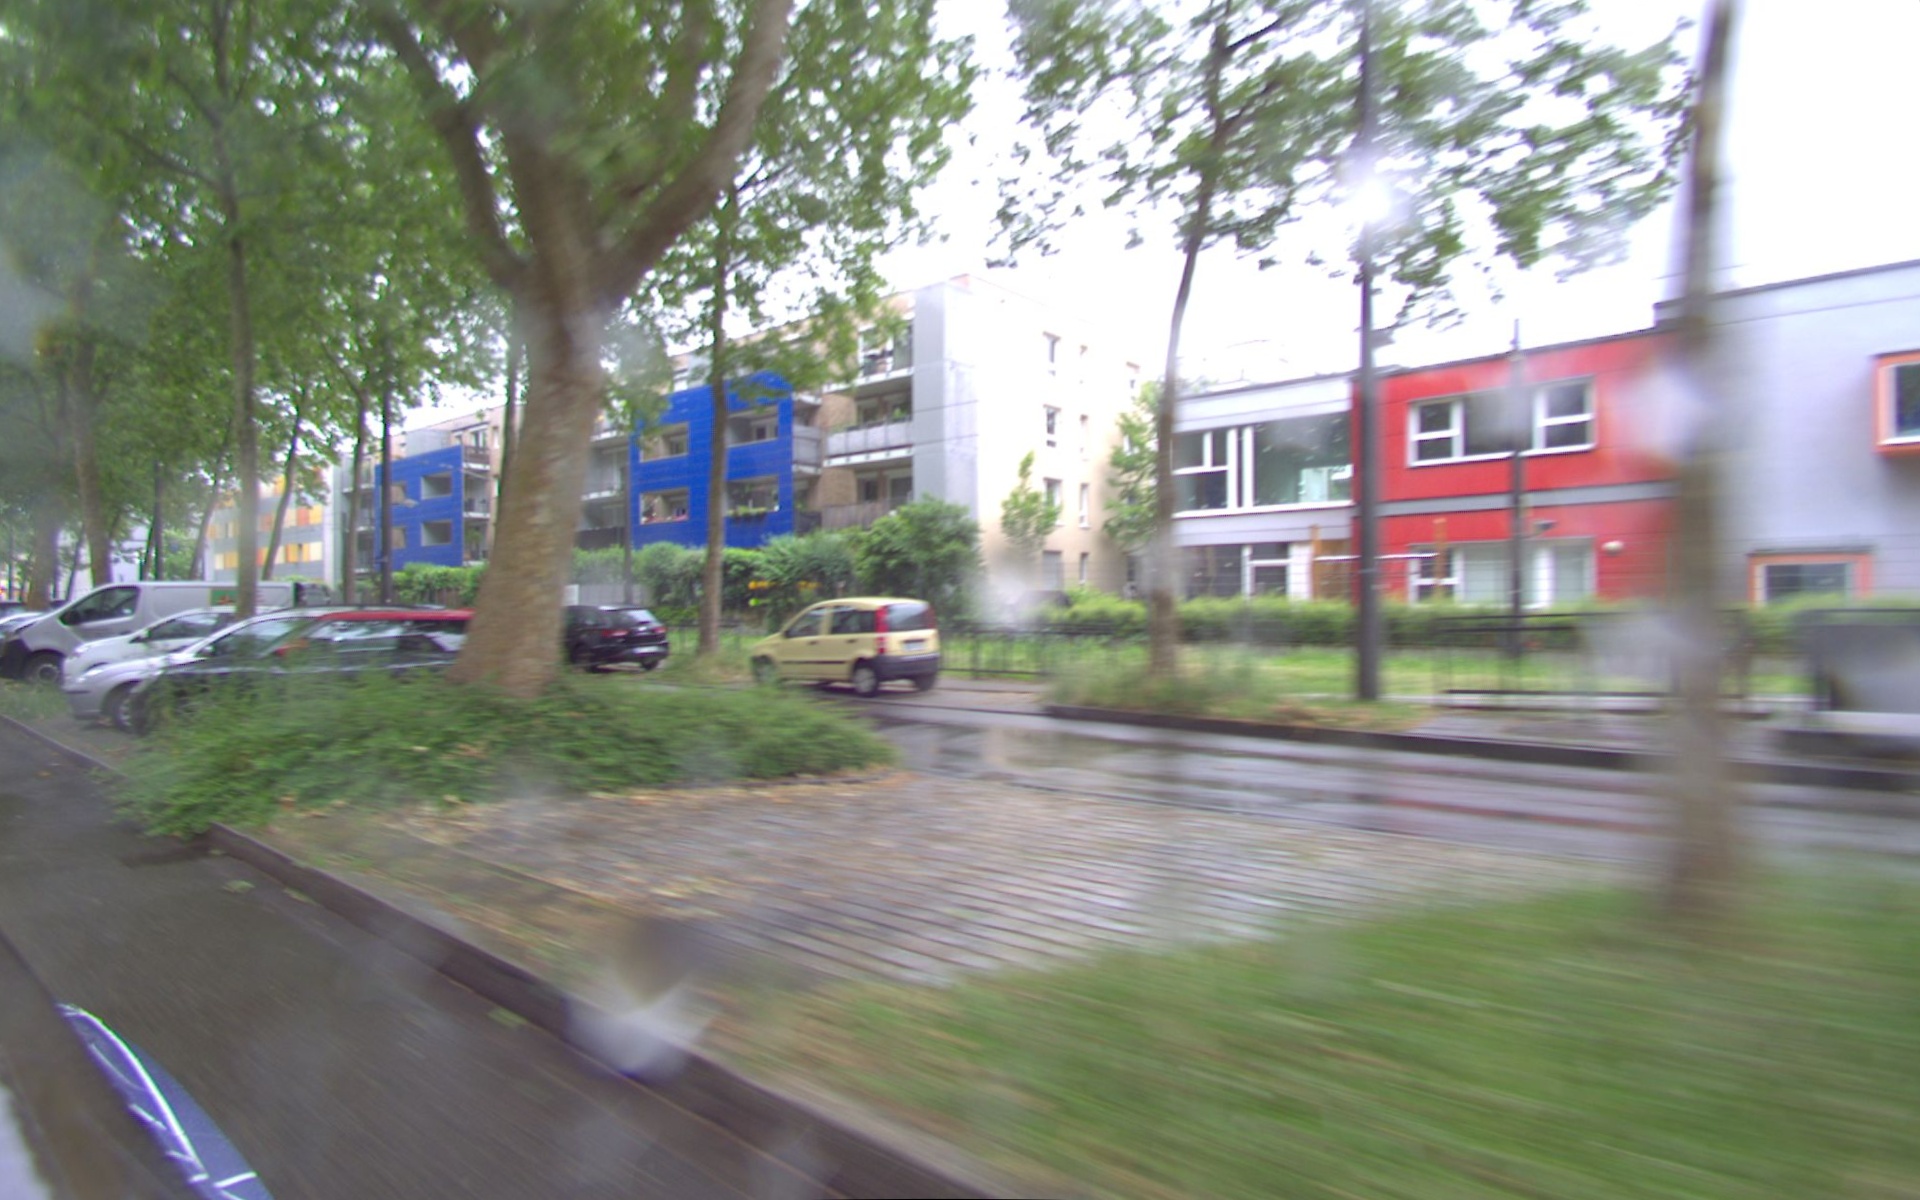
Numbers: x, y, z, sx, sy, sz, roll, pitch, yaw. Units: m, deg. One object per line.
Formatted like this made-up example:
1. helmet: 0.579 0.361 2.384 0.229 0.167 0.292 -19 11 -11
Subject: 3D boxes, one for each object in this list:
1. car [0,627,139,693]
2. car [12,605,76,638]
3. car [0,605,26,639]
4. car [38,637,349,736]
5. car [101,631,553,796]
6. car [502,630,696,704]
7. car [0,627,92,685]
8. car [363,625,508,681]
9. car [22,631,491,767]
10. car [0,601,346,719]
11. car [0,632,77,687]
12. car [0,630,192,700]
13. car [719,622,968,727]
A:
1. car: -22.783 1.461 24.660 3.999 1.510 1.753 0 -2 -26
2. car: -59.301 1.432 65.506 5.424 2.012 2.035 -2 0 37
3. car: -59.163 1.390 61.989 5.151 2.015 2.019 -2 -2 38
4. car: -12.507 1.392 16.814 3.721 1.493 1.728 2 -3 -19
5. car: -6.442 1.131 10.818 3.752 1.532 1.728 2 -3 -19
6. car: -7.837 1.403 21.840 4.265 1.431 1.975 -2 -3 38
7. car: -28.685 1.631 29.776 4.341 1.673 1.936 1 -2 -22
8. car: -14.576 1.418 28.072 3.983 1.431 1.977 -1 -1 35
9. car: -8.474 1.178 12.729 4.482 1.493 1.780 2 -3 -20
10. car: -14.512 1.096 18.677 5.043 1.992 2.109 2 -3 -19
11. car: -30.829 1.826 31.688 4.342 1.658 1.877 2 -3 -19
12. car: -20.296 1.461 22.981 4.241 1.448 1.753 0 -2 -23
13. car: -2.015 1.144 16.947 3.997 1.519 1.973 -1 -2 41
